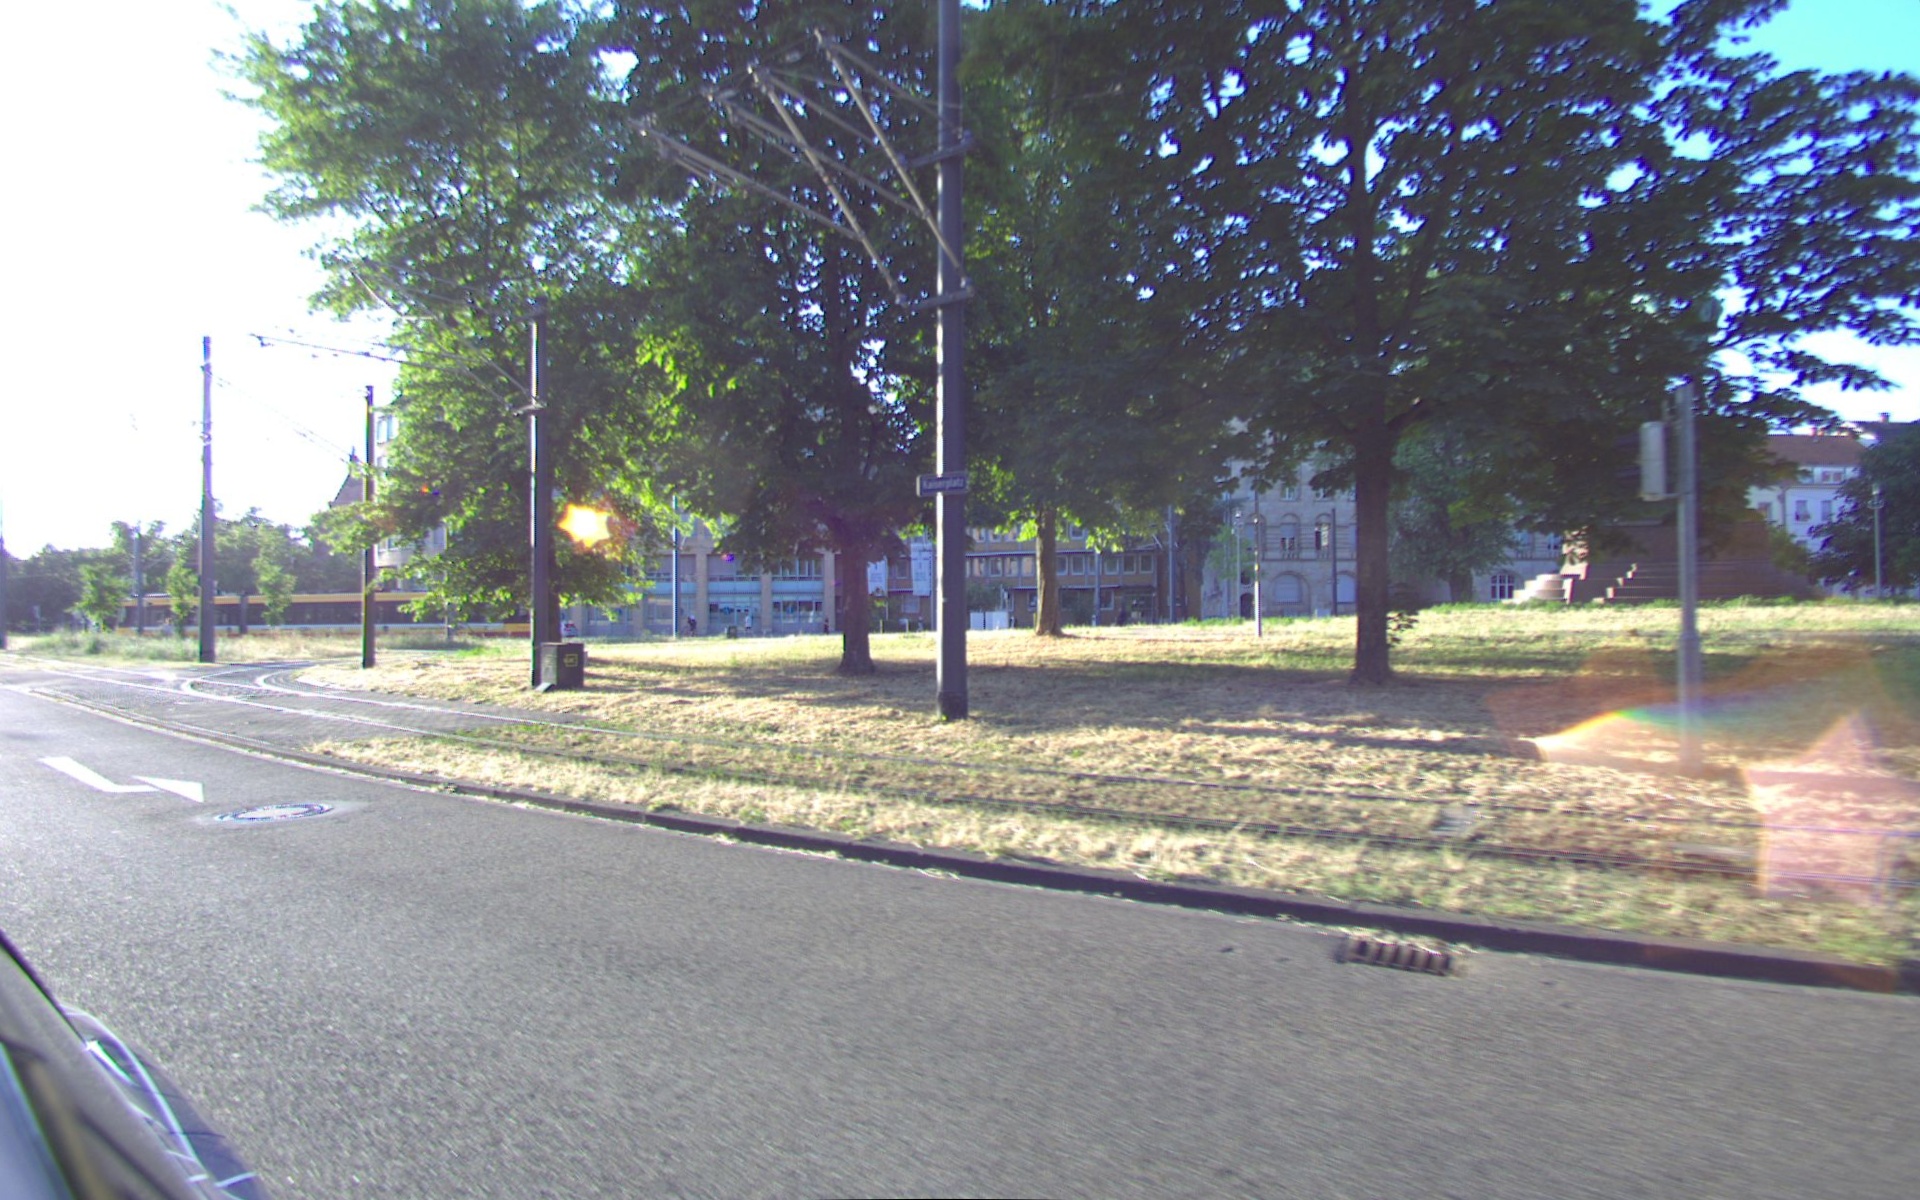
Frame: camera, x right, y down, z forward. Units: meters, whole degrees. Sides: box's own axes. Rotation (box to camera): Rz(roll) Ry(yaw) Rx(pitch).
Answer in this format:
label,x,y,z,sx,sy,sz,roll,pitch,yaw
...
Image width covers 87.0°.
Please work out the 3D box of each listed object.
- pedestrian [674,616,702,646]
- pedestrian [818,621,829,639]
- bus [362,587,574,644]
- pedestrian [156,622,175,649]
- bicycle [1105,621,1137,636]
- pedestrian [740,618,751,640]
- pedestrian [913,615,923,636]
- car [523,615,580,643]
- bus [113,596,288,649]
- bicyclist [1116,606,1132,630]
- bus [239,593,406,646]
label,x,y,z,sx,sy,sz,roll,pitch,yaw
pedestrian,-20.136,2.301,74.919,1.615,2.110,1.056,-2,0,10
pedestrian,-10.569,2.299,78.208,0.676,1.334,0.566,-2,0,9
bus,-32.989,1.051,67.876,13.583,3.388,3.743,-2,0,15
pedestrian,-45.263,2.028,57.639,0.698,1.470,0.664,-2,-1,36
bicycle,11.572,2.067,72.700,2.167,1.018,0.473,-1,0,-6
pedestrian,-16.927,2.312,80.004,0.614,1.705,0.527,-2,0,23
pedestrian,-3.227,1.947,77.418,0.570,1.550,0.564,-2,0,13
car,-32.746,2.322,81.124,3.868,2.029,1.849,-2,0,10
bus,-55.586,1.616,74.111,12.021,3.482,3.742,-2,0,16
bicyclist,11.794,1.293,72.741,0.884,1.703,0.955,-2,0,-7
bus,-44.684,1.341,71.015,10.637,3.356,3.742,-2,0,15
